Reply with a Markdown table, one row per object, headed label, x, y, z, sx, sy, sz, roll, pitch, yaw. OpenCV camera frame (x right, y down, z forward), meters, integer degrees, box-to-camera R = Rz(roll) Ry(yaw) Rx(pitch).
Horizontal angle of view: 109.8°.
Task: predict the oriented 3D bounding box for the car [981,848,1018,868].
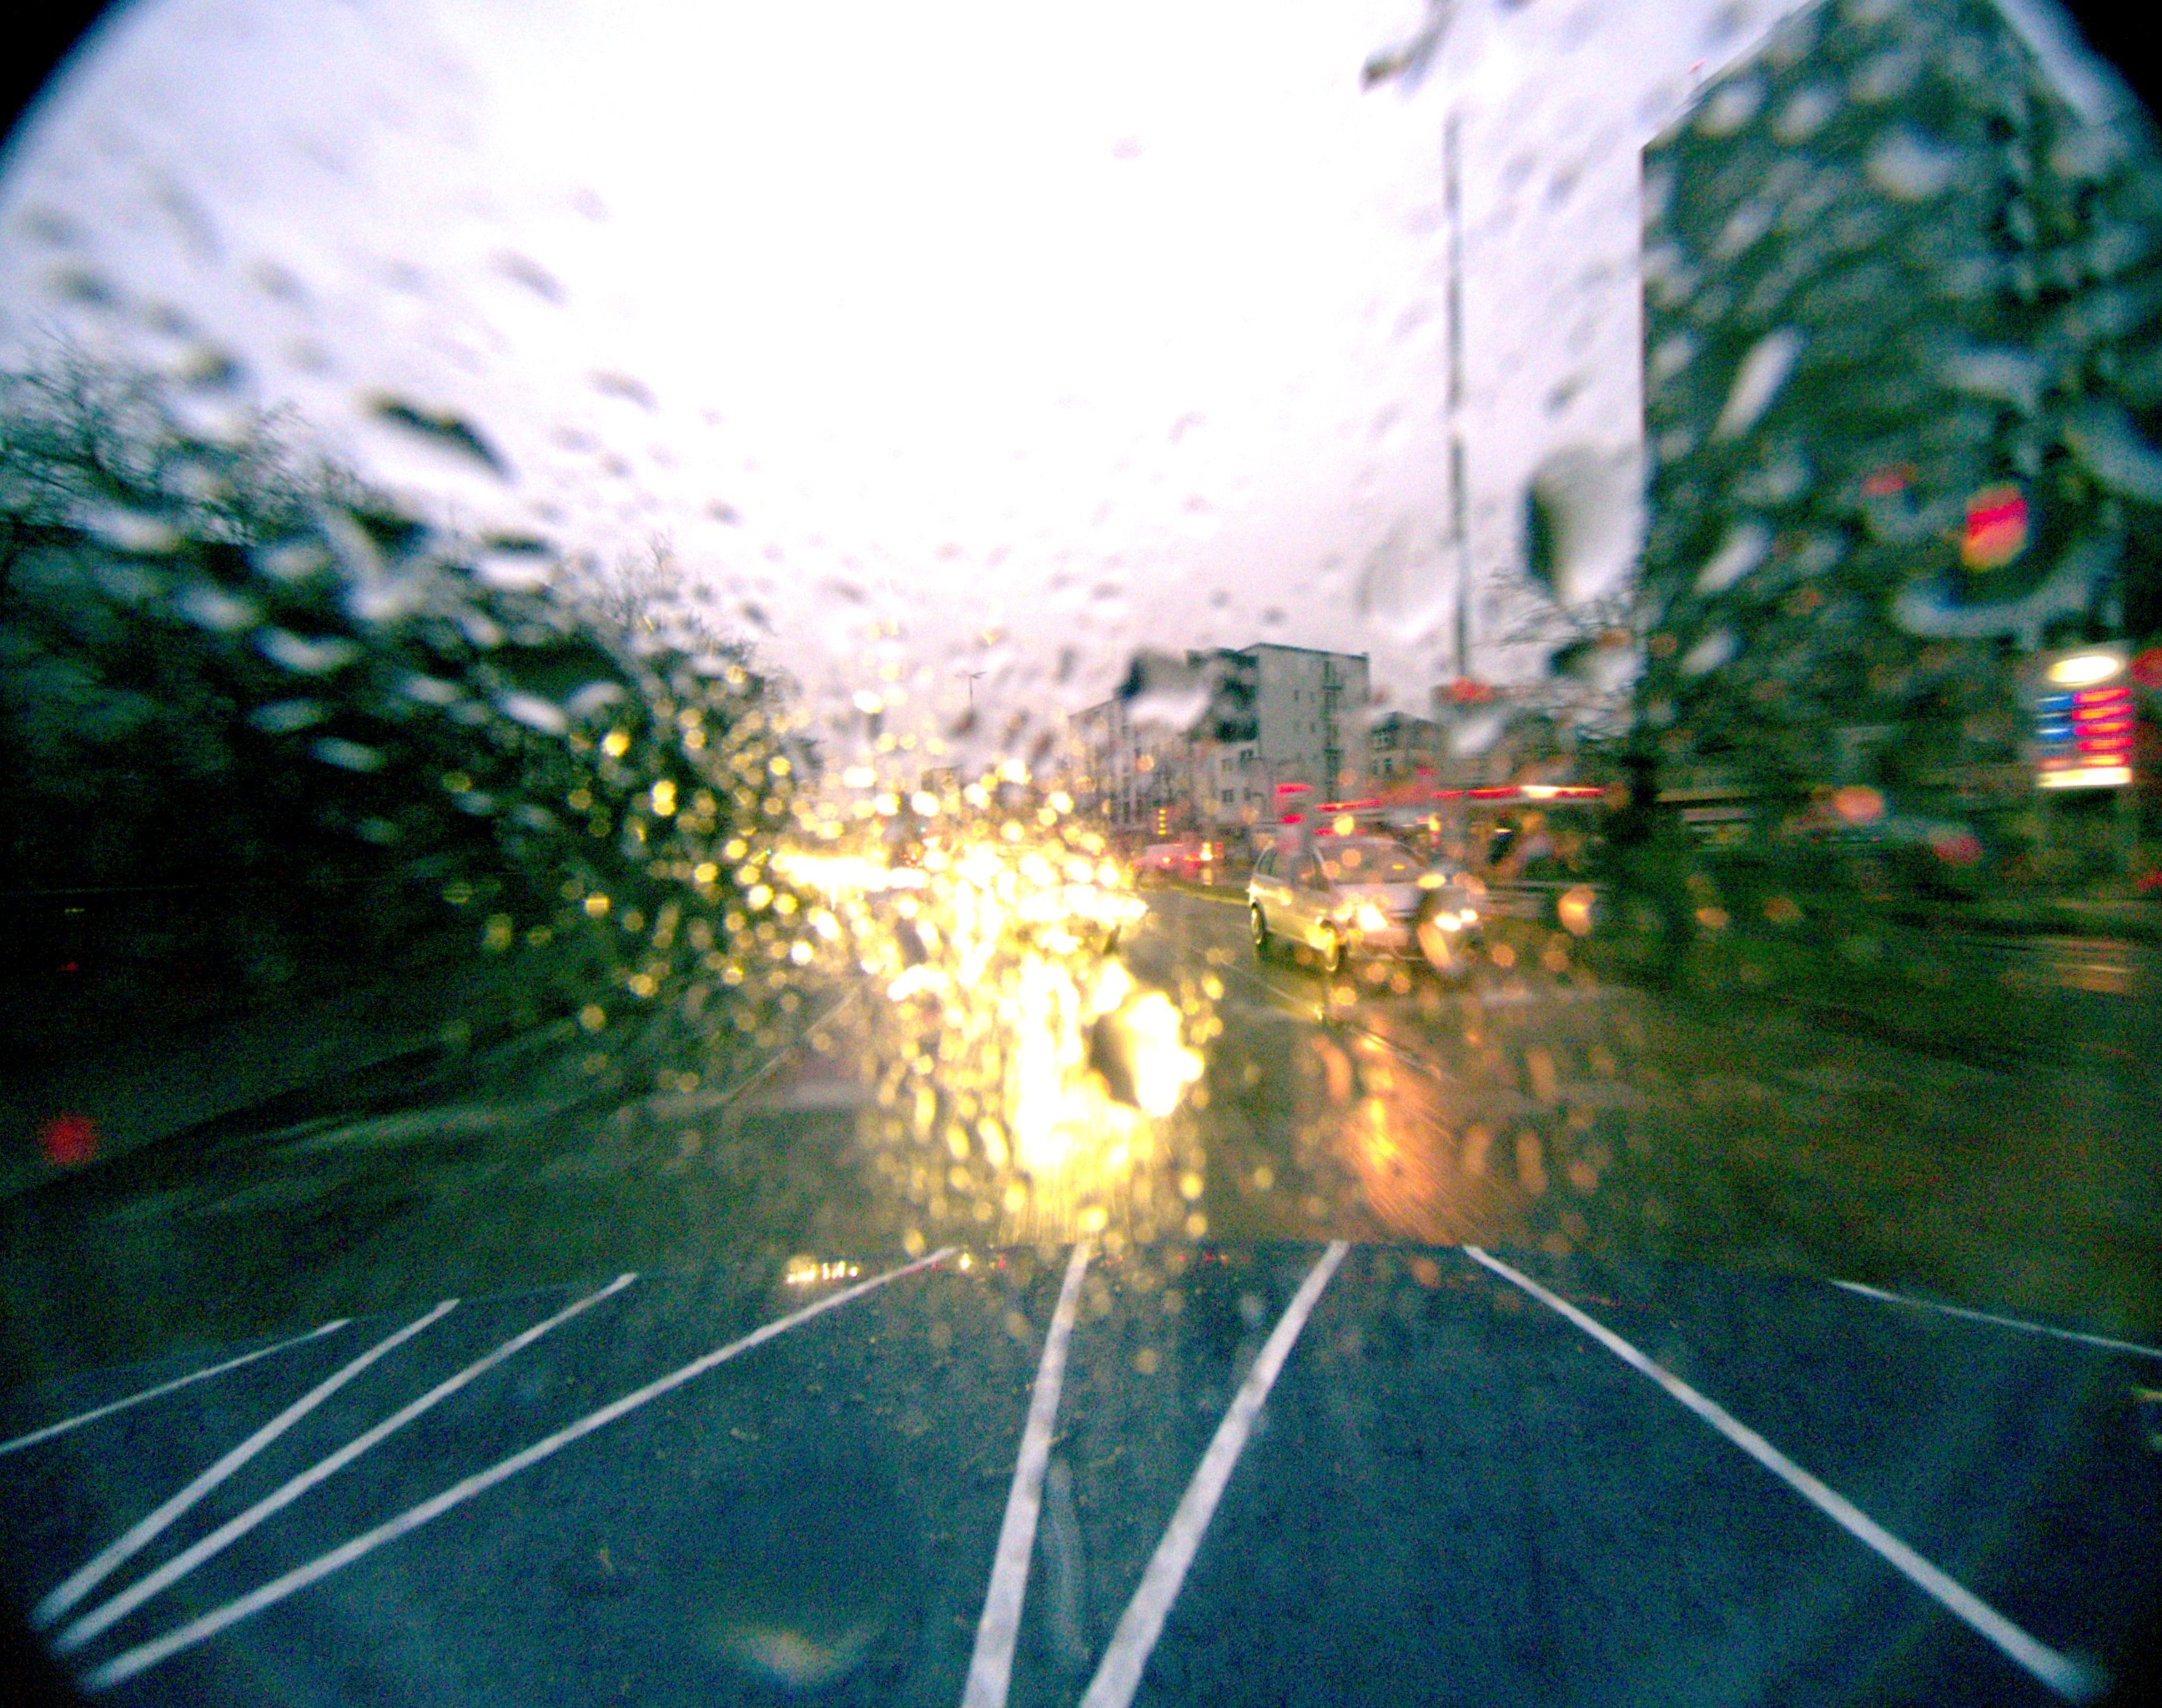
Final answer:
| label | x | y | z | sx | sy | sz | roll | pitch | yaw |
| --- | --- | --- | --- | --- | --- | --- | --- | --- | --- |
| car | -7.407 | 0.354 | 68.791 | 1.971 | 1.772 | 4.525 | -1 | 0 | -24 |

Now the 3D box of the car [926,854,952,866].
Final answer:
| label | x | y | z | sx | sy | sz | roll | pitch | yaw |
| --- | --- | --- | --- | --- | --- | --- | --- | --- | --- |
| car | -16.508 | 0.687 | 88.087 | 1.971 | 1.378 | 4.525 | -1 | 0 | -24 |

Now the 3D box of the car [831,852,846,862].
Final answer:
| label | x | y | z | sx | sy | sz | roll | pitch | yaw |
| --- | --- | --- | --- | --- | --- | --- | --- | --- | --- |
| car | -42.653 | 0.508 | 133.681 | 2.002 | 1.599 | 3.992 | -3 | 1 | -23 |

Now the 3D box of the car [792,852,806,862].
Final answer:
| label | x | y | z | sx | sy | sz | roll | pitch | yaw |
| --- | --- | --- | --- | --- | --- | --- | --- | --- | --- |
| car | -48.802 | 0.578 | 131.444 | 2.002 | 1.686 | 3.992 | -3 | 1 | -23 |

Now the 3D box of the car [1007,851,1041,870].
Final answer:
| label | x | y | z | sx | sy | sz | roll | pitch | yaw |
| --- | --- | --- | --- | --- | --- | --- | --- | --- | --- |
| car | -4.727 | 0.559 | 62.070 | 1.652 | 1.478 | 3.993 | -1 | 0 | -21 |

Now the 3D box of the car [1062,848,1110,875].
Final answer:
| label | x | y | z | sx | sy | sz | roll | pitch | yaw |
| --- | --- | --- | --- | --- | --- | --- | --- | --- | --- |
| car | 0.261 | 0.466 | 48.514 | 1.652 | 1.621 | 4.652 | -1 | 0 | -19 |

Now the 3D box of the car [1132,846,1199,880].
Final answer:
| label | x | y | z | sx | sy | sz | roll | pitch | yaw |
| --- | --- | --- | --- | --- | --- | --- | --- | --- | --- |
| car | 5.077 | 0.521 | 46.437 | 2.002 | 1.934 | 4.845 | 1 | 0 | -22 |

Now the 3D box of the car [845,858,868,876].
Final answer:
| label | x | y | z | sx | sy | sz | roll | pitch | yaw |
| --- | --- | --- | --- | --- | --- | --- | --- | --- | --- |
| car | -27.619 | 1.572 | 93.360 | 2.002 | 2.002 | 3.992 | -2 | 1 | -25 |

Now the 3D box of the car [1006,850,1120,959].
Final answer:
| label | x | y | z | sx | sy | sz | roll | pitch | yaw |
| --- | --- | --- | --- | --- | --- | --- | --- | --- | --- |
| car | -0.449 | 0.756 | 13.585 | 1.650 | 1.575 | 3.801 | -2 | 1 | -6 |

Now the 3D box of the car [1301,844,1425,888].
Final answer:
| label | x | y | z | sx | sy | sz | roll | pitch | yaw |
| --- | --- | --- | --- | --- | --- | --- | --- | --- | --- |
| car | 10.120 | 0.423 | 27.469 | 1.652 | 1.441 | 3.840 | -3 | 2 | -45 |

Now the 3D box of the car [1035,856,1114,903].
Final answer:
| label | x | y | z | sx | sy | sz | roll | pitch | yaw |
| --- | --- | --- | --- | --- | --- | --- | --- | --- | --- |
| car | -0.309 | 0.863 | 27.346 | 1.755 | 1.535 | 3.994 | -1 | 0 | -17 |

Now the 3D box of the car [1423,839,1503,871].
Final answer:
| label | x | y | z | sx | sy | sz | roll | pitch | yaw |
| --- | --- | --- | --- | --- | --- | --- | --- | --- | --- |
| car | 19.730 | 0.034 | 39.224 | 4.006 | 1.521 | 1.775 | -2 | 1 | -30 |

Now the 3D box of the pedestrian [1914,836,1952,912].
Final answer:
| label | x | y | z | sx | sy | sz | roll | pitch | yaw |
| --- | --- | --- | --- | --- | --- | --- | --- | --- | --- |
| pedestrian | 20.683 | 0.471 | 18.451 | 0.629 | 1.782 | 0.531 | -3 | 1 | -36 |

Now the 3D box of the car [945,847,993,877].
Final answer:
| label | x | y | z | sx | sy | sz | roll | pitch | yaw |
| --- | --- | --- | --- | --- | --- | --- | --- | --- | --- |
| car | -6.954 | 0.494 | 46.931 | 1.823 | 1.732 | 4.178 | -1 | 0 | -24 |

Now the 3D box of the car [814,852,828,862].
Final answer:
| label | x | y | z | sx | sy | sz | roll | pitch | yaw |
| --- | --- | --- | --- | --- | --- | --- | --- | --- | --- |
| car | -45.503 | 0.521 | 132.928 | 2.002 | 1.526 | 3.992 | -3 | 1 | -23 |

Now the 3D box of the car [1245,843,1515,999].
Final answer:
| label | x | y | z | sx | sy | sz | roll | pitch | yaw |
| --- | --- | --- | --- | --- | --- | --- | --- | --- | --- |
| car | 3.520 | 0.664 | 9.840 | 1.650 | 1.539 | 4.107 | -2 | 1 | -3 |

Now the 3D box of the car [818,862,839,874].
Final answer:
| label | x | y | z | sx | sy | sz | roll | pitch | yaw |
| --- | --- | --- | --- | --- | --- | --- | --- | --- | --- |
| car | -30.493 | 1.622 | 91.707 | 1.971 | 1.378 | 4.525 | -1 | 0 | -24 |
